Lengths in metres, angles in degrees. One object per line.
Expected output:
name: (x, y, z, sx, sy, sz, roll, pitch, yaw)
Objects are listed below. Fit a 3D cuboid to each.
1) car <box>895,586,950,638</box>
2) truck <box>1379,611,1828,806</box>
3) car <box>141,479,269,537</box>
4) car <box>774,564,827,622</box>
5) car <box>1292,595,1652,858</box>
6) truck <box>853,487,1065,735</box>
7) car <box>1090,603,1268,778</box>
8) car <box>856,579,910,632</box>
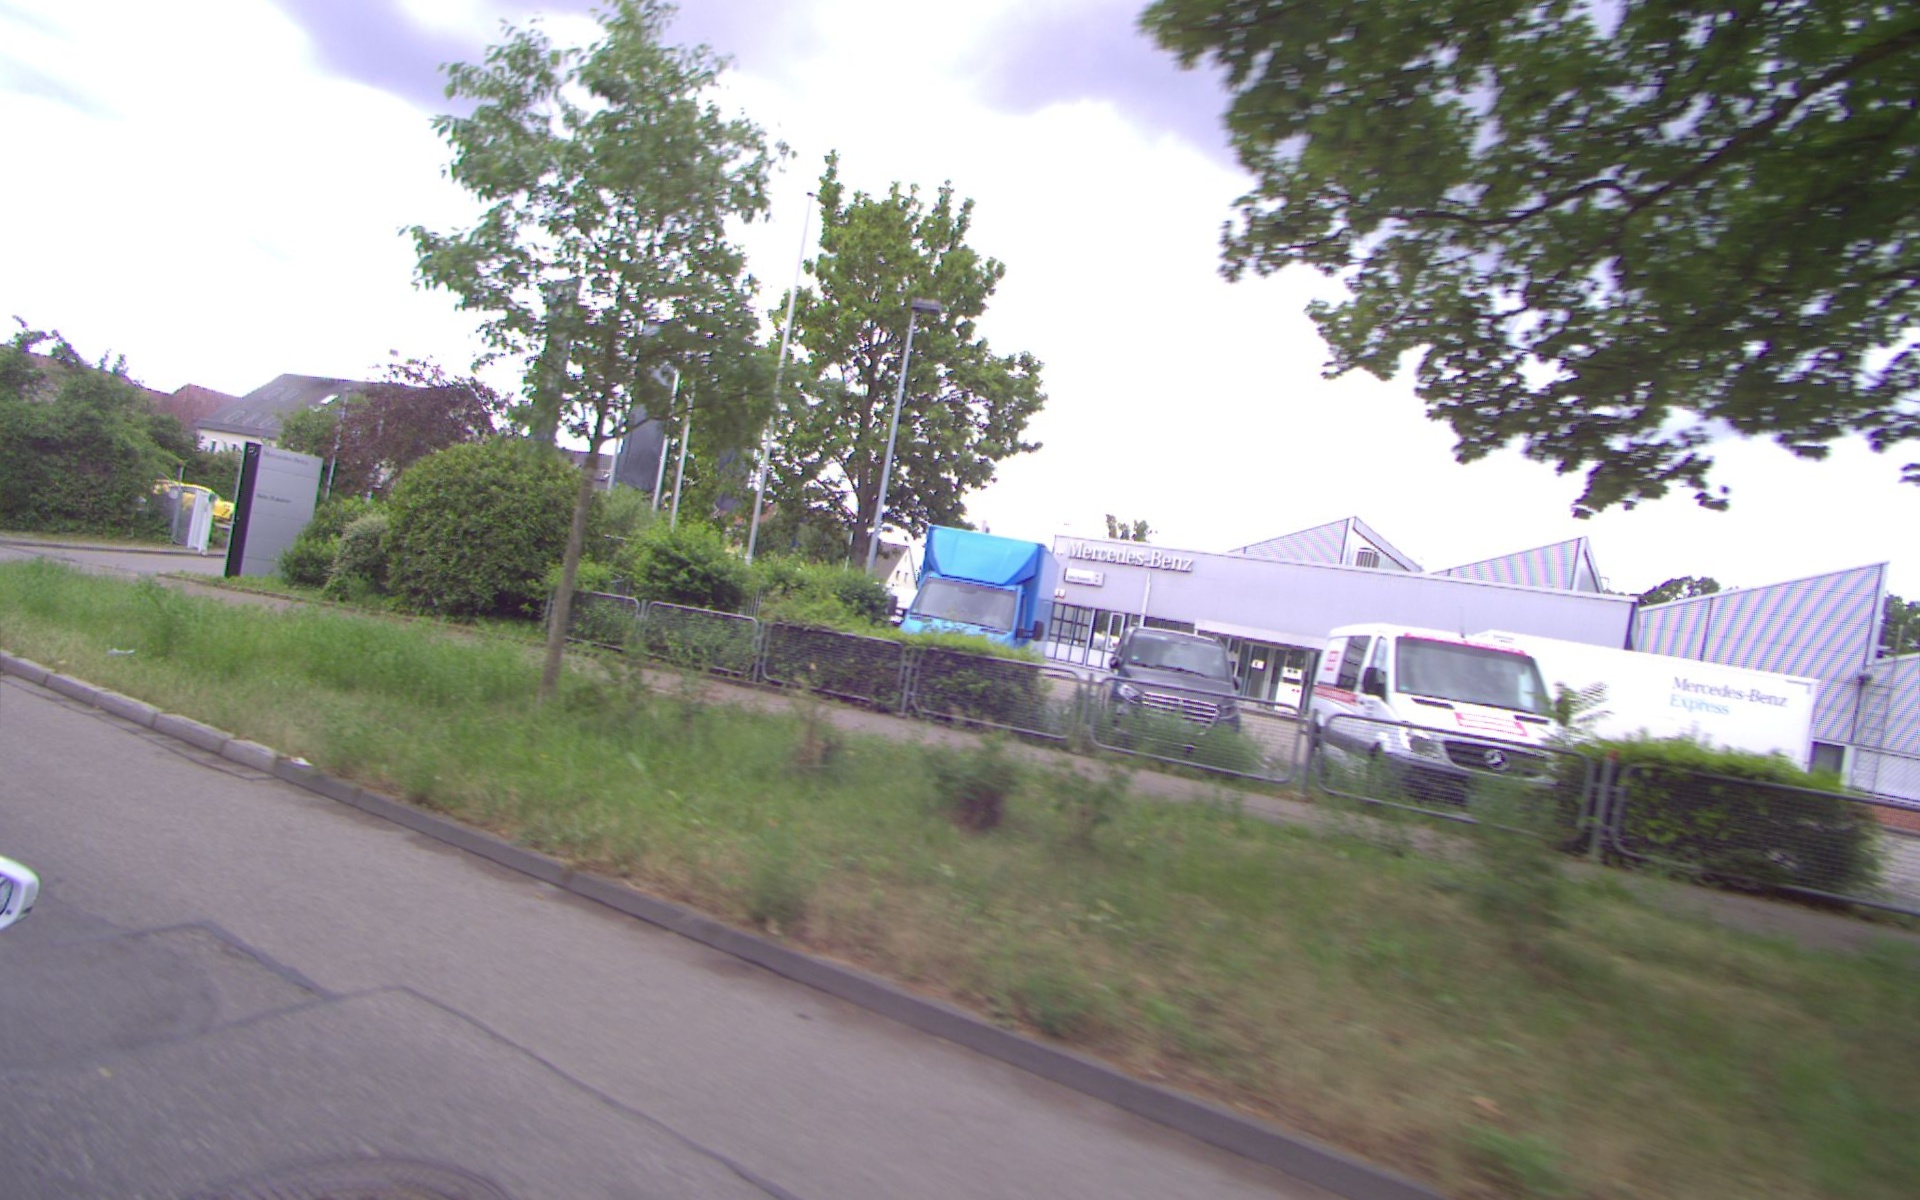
car: (-2.434, 0.703, 63.592, 2.227, 2.709, 5.434, 9, 0, -12)
truck: (16.458, 2.706, 26.776, 9.365, 3.498, 2.865, 7, -2, 21)
car: (-32.611, -3.933, 43.596, 3.953, 1.669, 1.988, 9, -3, -26)
car: (-8.853, -0.468, 55.316, 2.227, 2.709, 5.434, 9, 0, -12)
car: (6.281, 1.500, 13.448, 2.317, 2.393, 6.040, 8, -3, 10)
truck: (0.334, 0.323, 19.120, 2.569, 3.518, 7.195, 8, -1, 9)
car: (3.218, 1.331, 15.600, 1.888, 2.098, 4.005, 8, -2, 4)
car: (-4.792, 0.282, 61.712, 2.227, 2.709, 5.434, 9, 0, -12)
